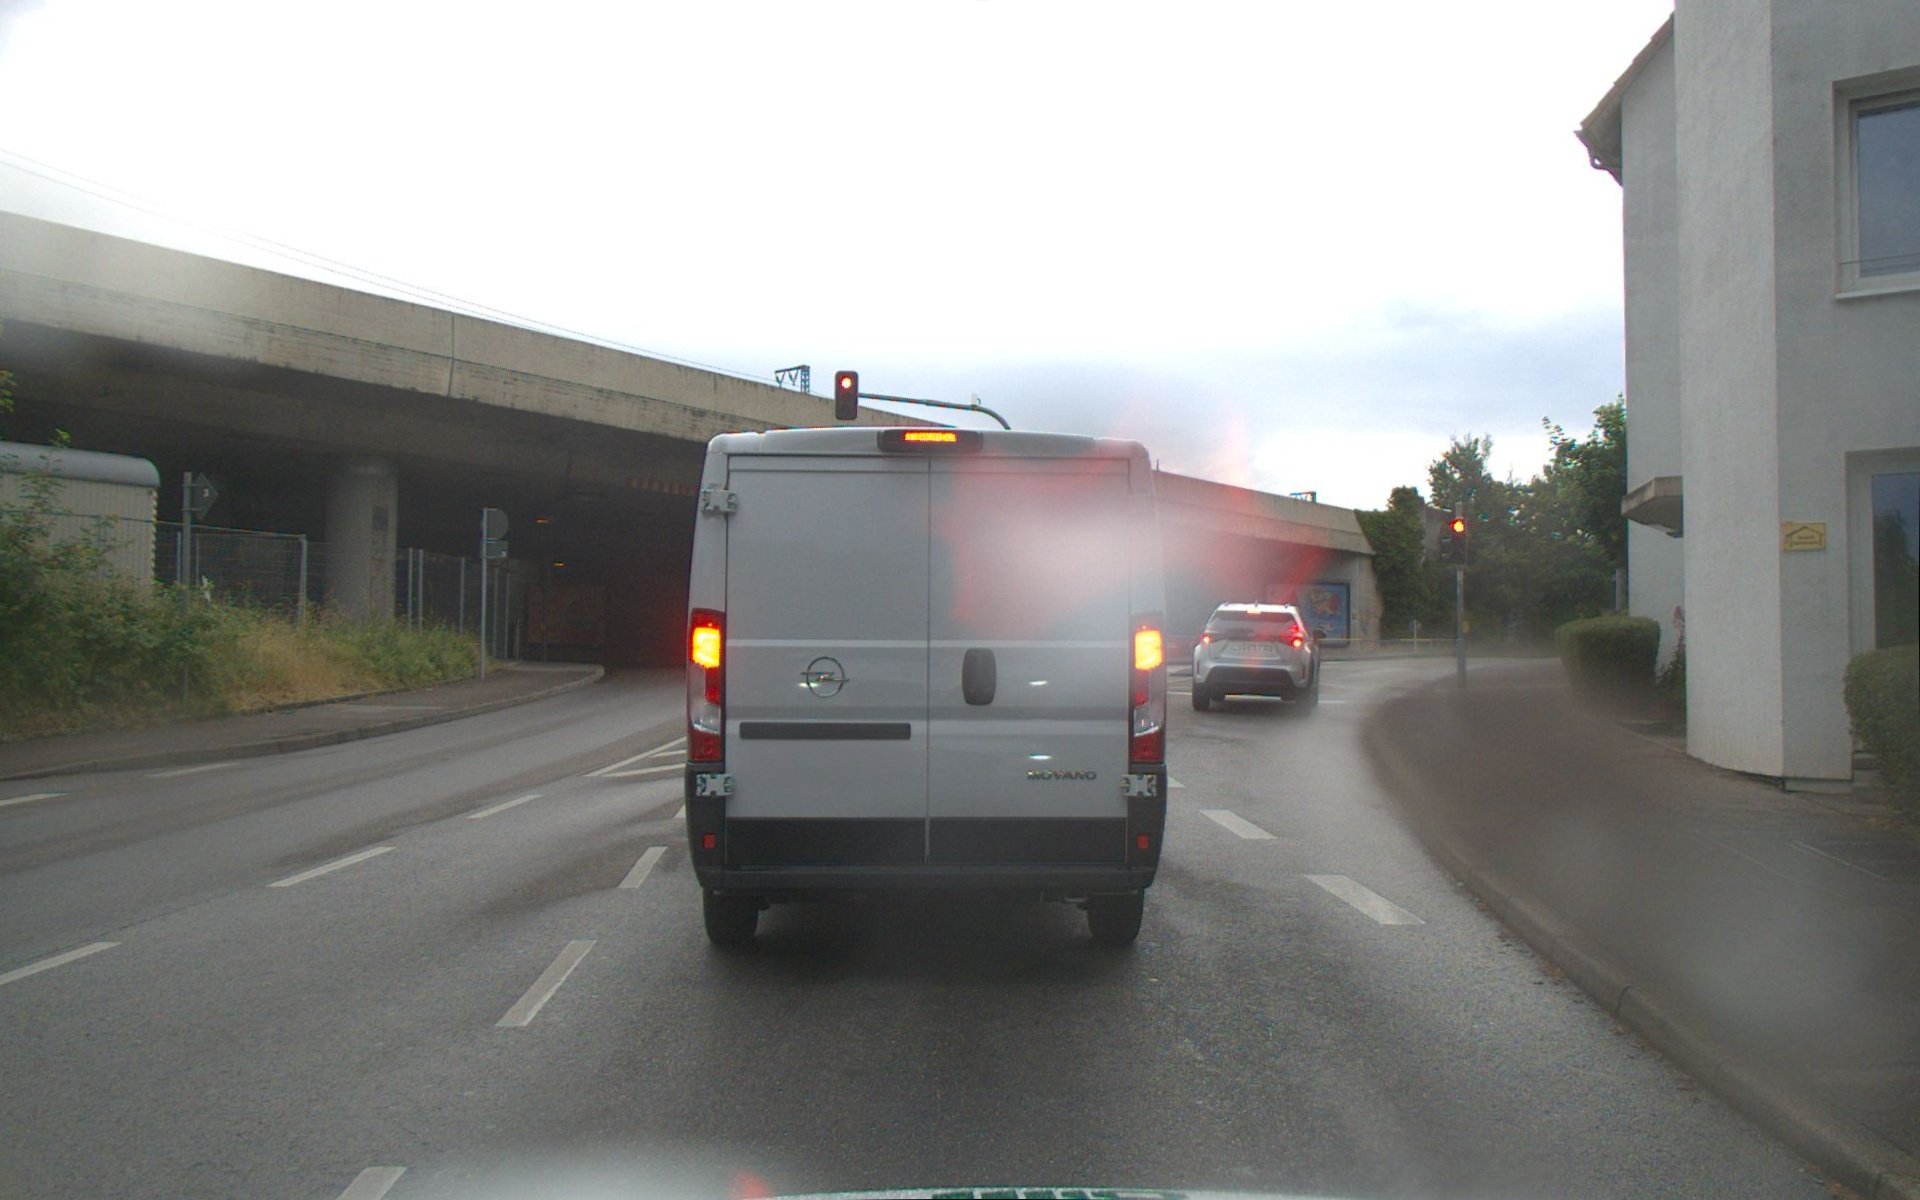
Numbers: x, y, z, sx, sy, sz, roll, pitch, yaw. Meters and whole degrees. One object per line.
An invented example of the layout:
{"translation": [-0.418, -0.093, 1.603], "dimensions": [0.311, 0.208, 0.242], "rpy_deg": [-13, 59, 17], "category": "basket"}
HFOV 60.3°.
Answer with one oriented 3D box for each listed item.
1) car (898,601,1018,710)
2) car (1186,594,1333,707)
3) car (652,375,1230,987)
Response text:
{"translation": [0.037, 0.950, 28.851], "dimensions": [1.952, 1.759, 4.000], "rpy_deg": [0, -2, 2], "category": "car"}
{"translation": [4.653, 0.729, 25.280], "dimensions": [1.951, 1.576, 4.003], "rpy_deg": [0, -1, 14], "category": "car"}
{"translation": [-0.182, 0.305, 9.150], "dimensions": [2.259, 2.384, 5.279], "rpy_deg": [-1, 0, -3], "category": "car"}
